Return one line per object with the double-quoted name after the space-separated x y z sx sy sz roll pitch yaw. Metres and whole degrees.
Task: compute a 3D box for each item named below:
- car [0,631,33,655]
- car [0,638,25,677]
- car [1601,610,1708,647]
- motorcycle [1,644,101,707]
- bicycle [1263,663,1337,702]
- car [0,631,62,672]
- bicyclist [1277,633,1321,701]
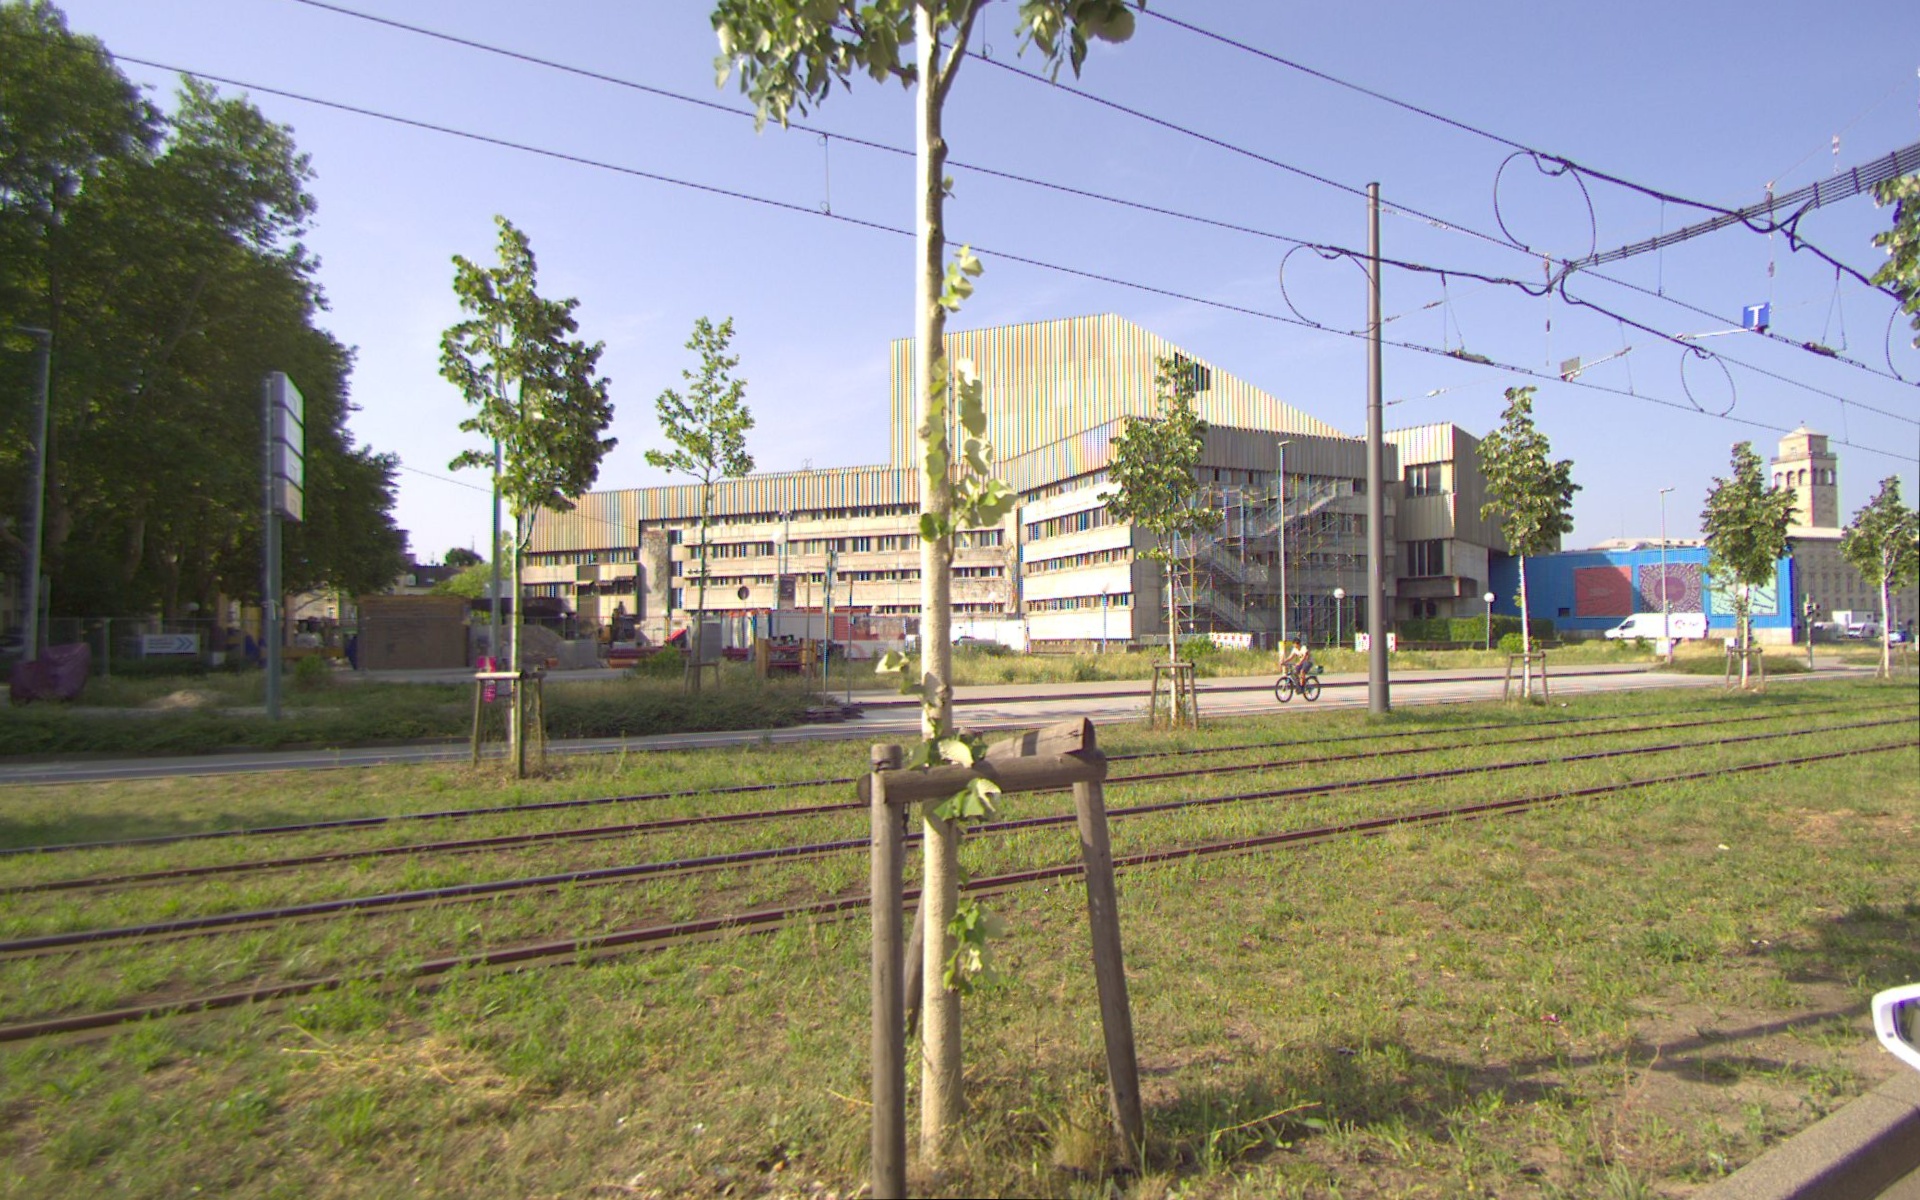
-59.197 2.600 60.946 3.954 1.483 1.984 1 -2 -31 "car"
-35.985 2.104 36.542 1.976 1.394 3.969 1 -2 -30 "car"
54.981 2.216 79.620 6.792 2.673 2.503 1 0 40 "car"
-20.747 1.702 22.919 2.253 1.387 0.818 -1 -2 23 "motorcycle"
8.979 2.170 26.531 2.054 0.973 0.659 2 -4 -30 "bicycle"
-38.645 2.076 41.129 1.976 1.628 3.969 1 -2 -30 "car"
8.956 1.769 26.543 0.908 1.758 0.644 2 -4 -30 "bicyclist"
